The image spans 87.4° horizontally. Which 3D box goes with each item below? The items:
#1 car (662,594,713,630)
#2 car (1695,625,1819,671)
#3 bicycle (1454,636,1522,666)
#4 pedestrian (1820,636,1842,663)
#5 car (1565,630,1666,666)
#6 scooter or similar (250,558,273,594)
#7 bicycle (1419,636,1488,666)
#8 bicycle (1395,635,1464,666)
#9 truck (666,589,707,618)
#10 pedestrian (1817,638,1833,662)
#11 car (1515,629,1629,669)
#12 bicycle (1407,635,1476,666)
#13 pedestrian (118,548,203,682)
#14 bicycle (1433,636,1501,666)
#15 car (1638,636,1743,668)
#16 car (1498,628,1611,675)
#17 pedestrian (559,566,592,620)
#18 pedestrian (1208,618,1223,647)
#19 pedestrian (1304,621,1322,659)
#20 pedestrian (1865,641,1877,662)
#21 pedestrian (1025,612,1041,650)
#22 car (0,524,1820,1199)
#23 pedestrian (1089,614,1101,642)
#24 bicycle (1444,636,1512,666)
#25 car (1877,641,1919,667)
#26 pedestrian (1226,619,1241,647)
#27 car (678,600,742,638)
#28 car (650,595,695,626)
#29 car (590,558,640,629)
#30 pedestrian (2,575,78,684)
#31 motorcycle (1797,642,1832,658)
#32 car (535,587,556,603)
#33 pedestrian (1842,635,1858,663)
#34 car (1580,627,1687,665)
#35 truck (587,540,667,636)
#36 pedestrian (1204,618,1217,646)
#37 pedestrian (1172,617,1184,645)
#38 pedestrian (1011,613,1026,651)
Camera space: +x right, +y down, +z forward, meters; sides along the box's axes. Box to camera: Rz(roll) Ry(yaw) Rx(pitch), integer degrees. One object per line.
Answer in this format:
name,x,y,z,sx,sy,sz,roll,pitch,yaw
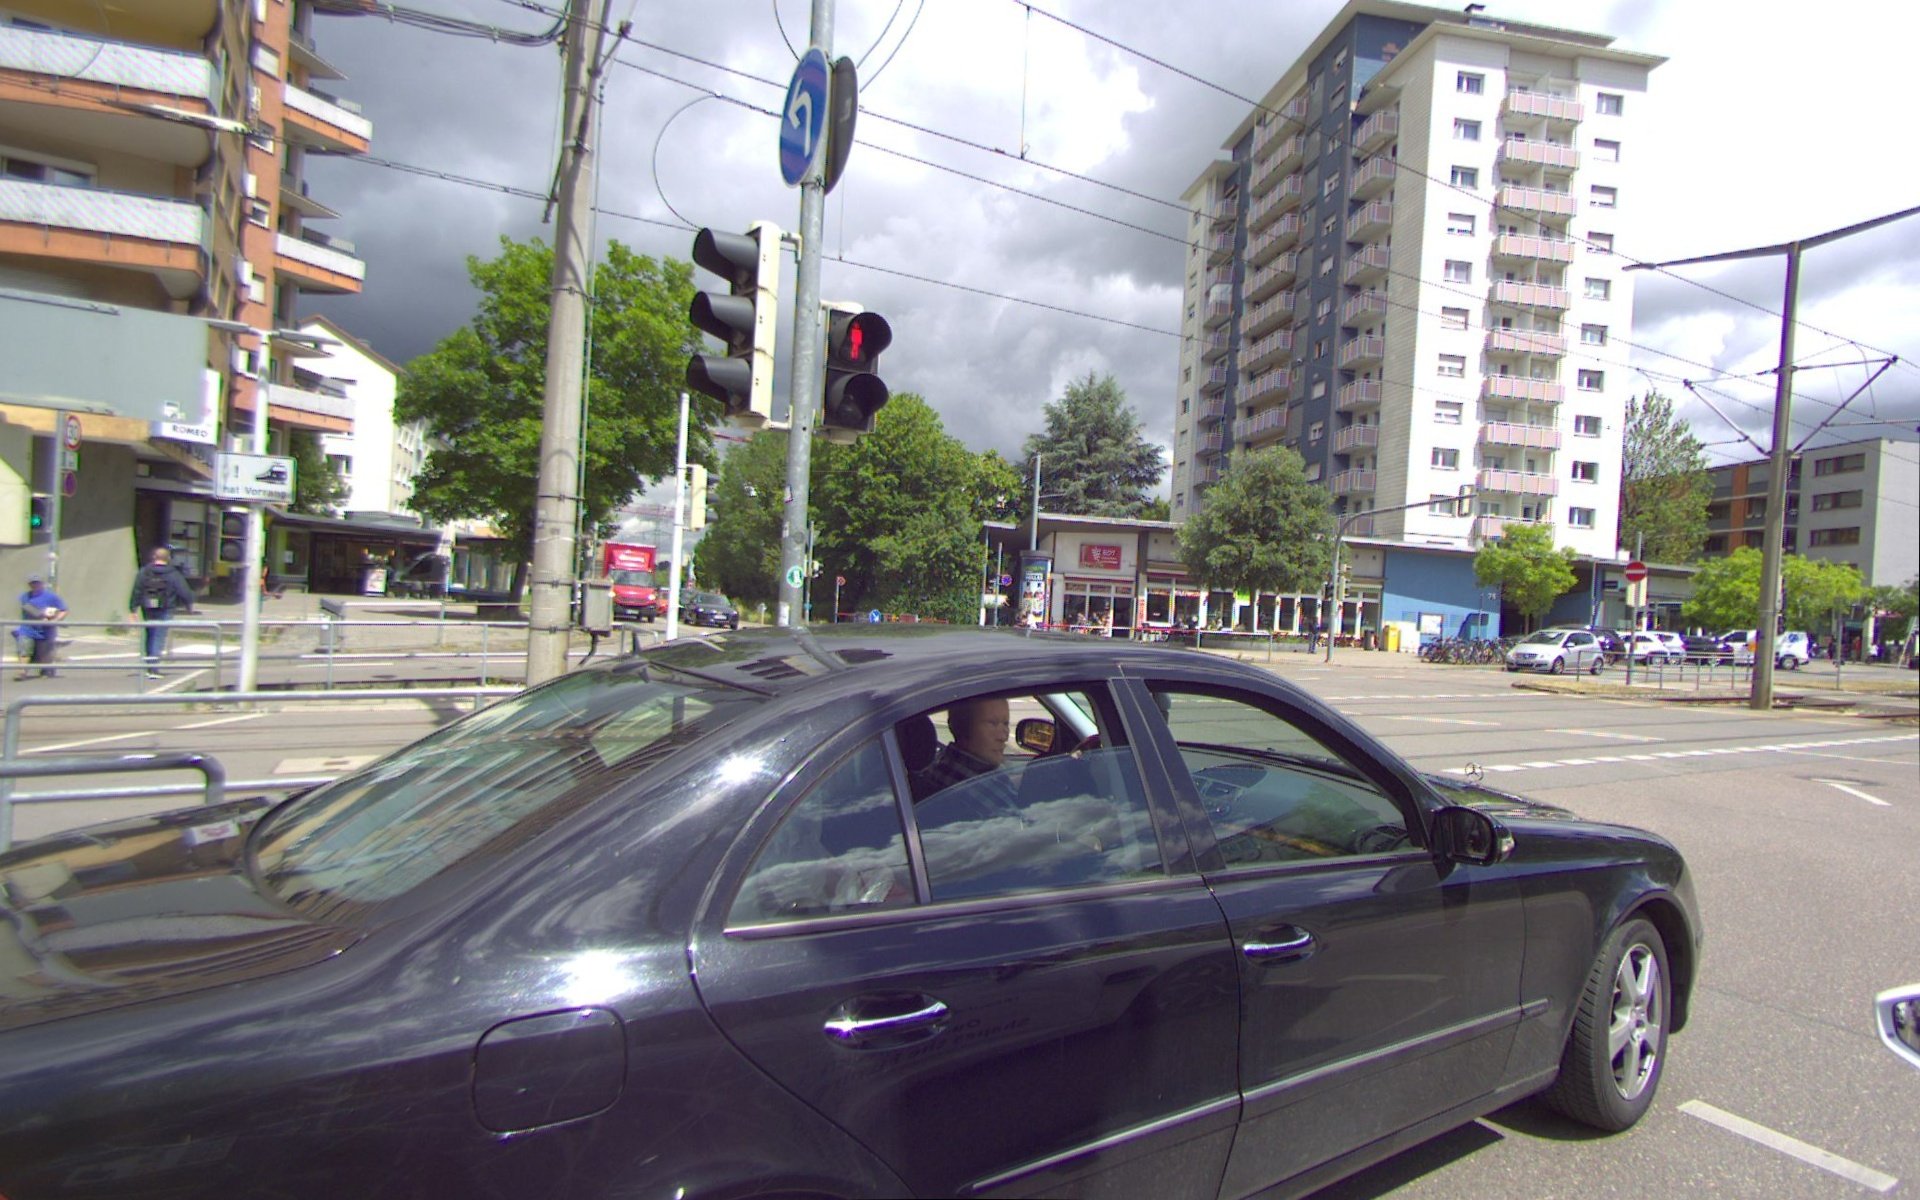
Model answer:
car,-13.417,0.570,49.315,1.971,1.623,3.980,2,-1,-22
car,41.605,2.467,52.549,4.666,2.185,1.907,2,0,17
bicycle,21.286,2.054,40.527,0.696,1.080,2.415,2,-1,-30
pedestrian,56.061,3.150,64.618,0.605,1.672,0.838,2,1,-25
car,31.265,2.255,48.019,3.692,1.516,1.747,2,0,19
scooter or similar,-22.250,-0.750,32.006,0.540,1.108,1.736,2,0,-33
bicycle,19.261,1.977,39.250,0.696,1.080,2.415,2,-1,-30
bicycle,17.949,1.928,38.447,0.696,1.080,2.415,2,-1,-30
truck,-25.627,0.331,94.043,2.907,2.583,6.997,2,-1,-22
pedestrian,58.519,3.387,67.969,0.654,1.594,0.687,2,0,31
car,27.396,2.166,45.094,3.919,1.612,1.934,2,0,12
bicycle,18.592,1.952,38.831,0.696,1.080,2.415,2,-1,-30
pedestrian,-12.153,0.226,15.299,0.843,1.960,0.913,2,0,-30
bicycle,20.018,2.006,39.740,0.696,1.080,2.415,2,-1,-30
car,37.202,2.650,51.267,3.920,1.402,1.907,2,0,17
car,21.380,1.855,36.126,3.707,1.553,1.811,2,-1,-28
pedestrian,-13.374,-0.244,34.909,0.873,1.835,0.641,1,0,33
pedestrian,13.573,1.711,53.393,0.565,1.492,0.522,2,0,-28
pedestrian,15.670,1.754,44.587,0.594,1.665,0.414,2,0,-34
pedestrian,65.861,3.743,72.607,0.490,1.479,0.559,2,0,31
pedestrian,2.929,1.240,40.440,0.516,1.492,0.518,2,0,-5
car,0.233,0.693,2.802,4.622,1.417,1.961,2,-1,-31
pedestrian,7.358,1.526,54.818,0.515,1.492,0.572,2,0,1
bicycle,20.650,2.030,40.105,0.696,1.080,2.415,2,-1,-30
car,59.183,3.410,62.584,4.328,1.447,1.726,3,1,-30
pedestrian,14.662,1.750,53.853,0.565,1.492,0.522,2,0,-28
car,-10.691,0.789,42.809,1.972,1.514,3.977,2,-1,-24
car,-15.888,0.556,55.323,1.971,1.623,3.980,2,-1,-22
car,-17.478,-0.306,50.704,1.971,3.343,6.271,2,-1,-22
pedestrian,-13.411,0.424,14.661,0.641,1.533,0.715,2,0,-30
motorcycle,65.632,3.843,77.162,0.734,1.194,1.880,2,-1,-34
car,-44.392,-0.553,107.576,1.971,1.623,3.980,2,-1,-22
pedestrian,60.378,3.320,68.154,0.834,1.816,0.608,2,0,-33
car,33.322,2.253,49.814,3.919,1.653,1.908,2,0,13
truck,-14.394,-0.477,43.095,2.511,3.723,7.058,2,-1,-24
pedestrian,13.627,1.727,54.714,0.516,1.492,0.572,2,0,-2
pedestrian,11.834,1.669,54.552,0.515,1.492,0.572,2,0,1
pedestrian,2.392,1.302,40.969,0.516,1.492,0.572,2,0,-5
